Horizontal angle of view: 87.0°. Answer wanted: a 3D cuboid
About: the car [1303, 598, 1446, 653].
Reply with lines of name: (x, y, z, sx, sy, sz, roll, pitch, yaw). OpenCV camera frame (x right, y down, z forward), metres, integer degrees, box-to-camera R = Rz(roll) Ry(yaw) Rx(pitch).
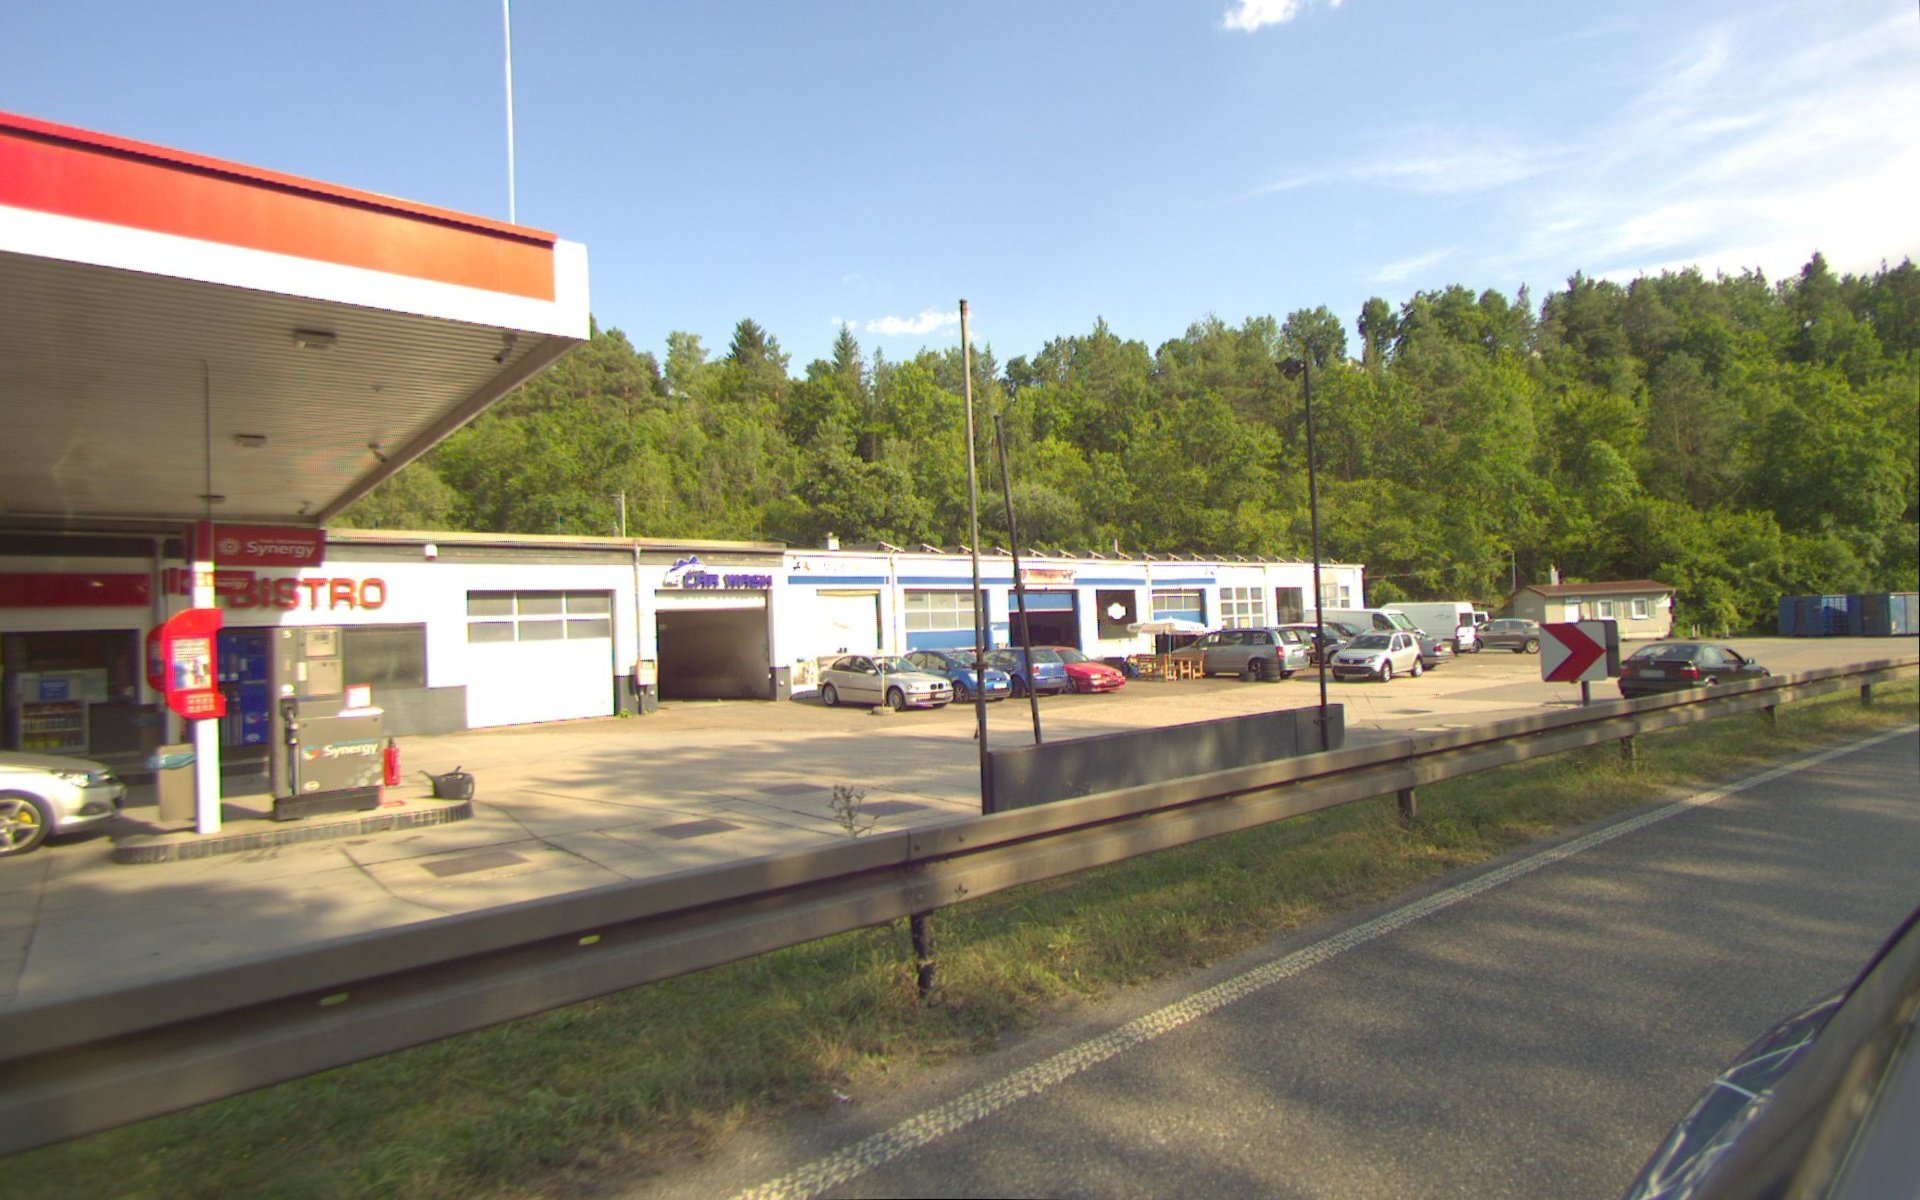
car: (18.451, 1.100, 45.253, 2.255, 2.303, 5.483, 0, -1, -40)

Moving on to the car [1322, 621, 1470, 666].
car: (16.164, 1.575, 37.706, 1.924, 1.452, 4.725, 0, 0, -42)

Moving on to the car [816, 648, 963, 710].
car: (-1.919, 2.013, 26.682, 1.748, 1.372, 3.958, 0, -1, -44)

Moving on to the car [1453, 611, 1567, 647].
car: (26.349, 1.381, 48.621, 4.332, 1.691, 1.937, 0, -1, 9)

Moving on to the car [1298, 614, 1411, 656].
car: (16.933, 1.459, 43.543, 1.891, 1.631, 4.166, 0, 0, -40)

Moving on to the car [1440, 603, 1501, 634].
car: (35.852, 1.287, 71.218, 1.963, 2.040, 4.556, -2, -1, 1)

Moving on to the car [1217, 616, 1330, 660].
car: (12.658, 1.494, 41.012, 1.861, 1.631, 3.994, 0, 0, -40)

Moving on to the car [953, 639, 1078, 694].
car: (1.581, 1.928, 29.869, 1.703, 1.464, 3.549, 0, -2, -40)

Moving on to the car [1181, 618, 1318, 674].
car: (10.032, 1.535, 35.261, 1.860, 1.750, 4.251, 0, 0, -43)

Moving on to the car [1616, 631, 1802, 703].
car: (16.648, 1.421, 22.466, 4.187, 1.370, 1.831, 0, -1, -31)

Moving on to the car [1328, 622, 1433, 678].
car: (13.812, 1.591, 33.131, 3.924, 1.617, 1.790, 0, -1, -45)

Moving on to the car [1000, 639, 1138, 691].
car: (3.277, 1.933, 31.098, 1.861, 1.365, 4.074, 0, -1, -40)

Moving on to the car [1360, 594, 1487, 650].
car: (21.601, 0.995, 47.330, 2.170, 2.480, 4.913, 0, -1, -42)

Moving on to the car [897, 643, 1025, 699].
car: (-0.020, 1.940, 28.373, 1.661, 1.425, 3.555, 0, -2, -40)

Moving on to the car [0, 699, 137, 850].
car: (-10.858, 1.822, 9.915, 4.312, 1.336, 1.845, 0, -2, -41)

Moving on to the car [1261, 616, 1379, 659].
car: (14.935, 1.524, 42.155, 1.861, 1.631, 4.247, 0, -1, -40)
